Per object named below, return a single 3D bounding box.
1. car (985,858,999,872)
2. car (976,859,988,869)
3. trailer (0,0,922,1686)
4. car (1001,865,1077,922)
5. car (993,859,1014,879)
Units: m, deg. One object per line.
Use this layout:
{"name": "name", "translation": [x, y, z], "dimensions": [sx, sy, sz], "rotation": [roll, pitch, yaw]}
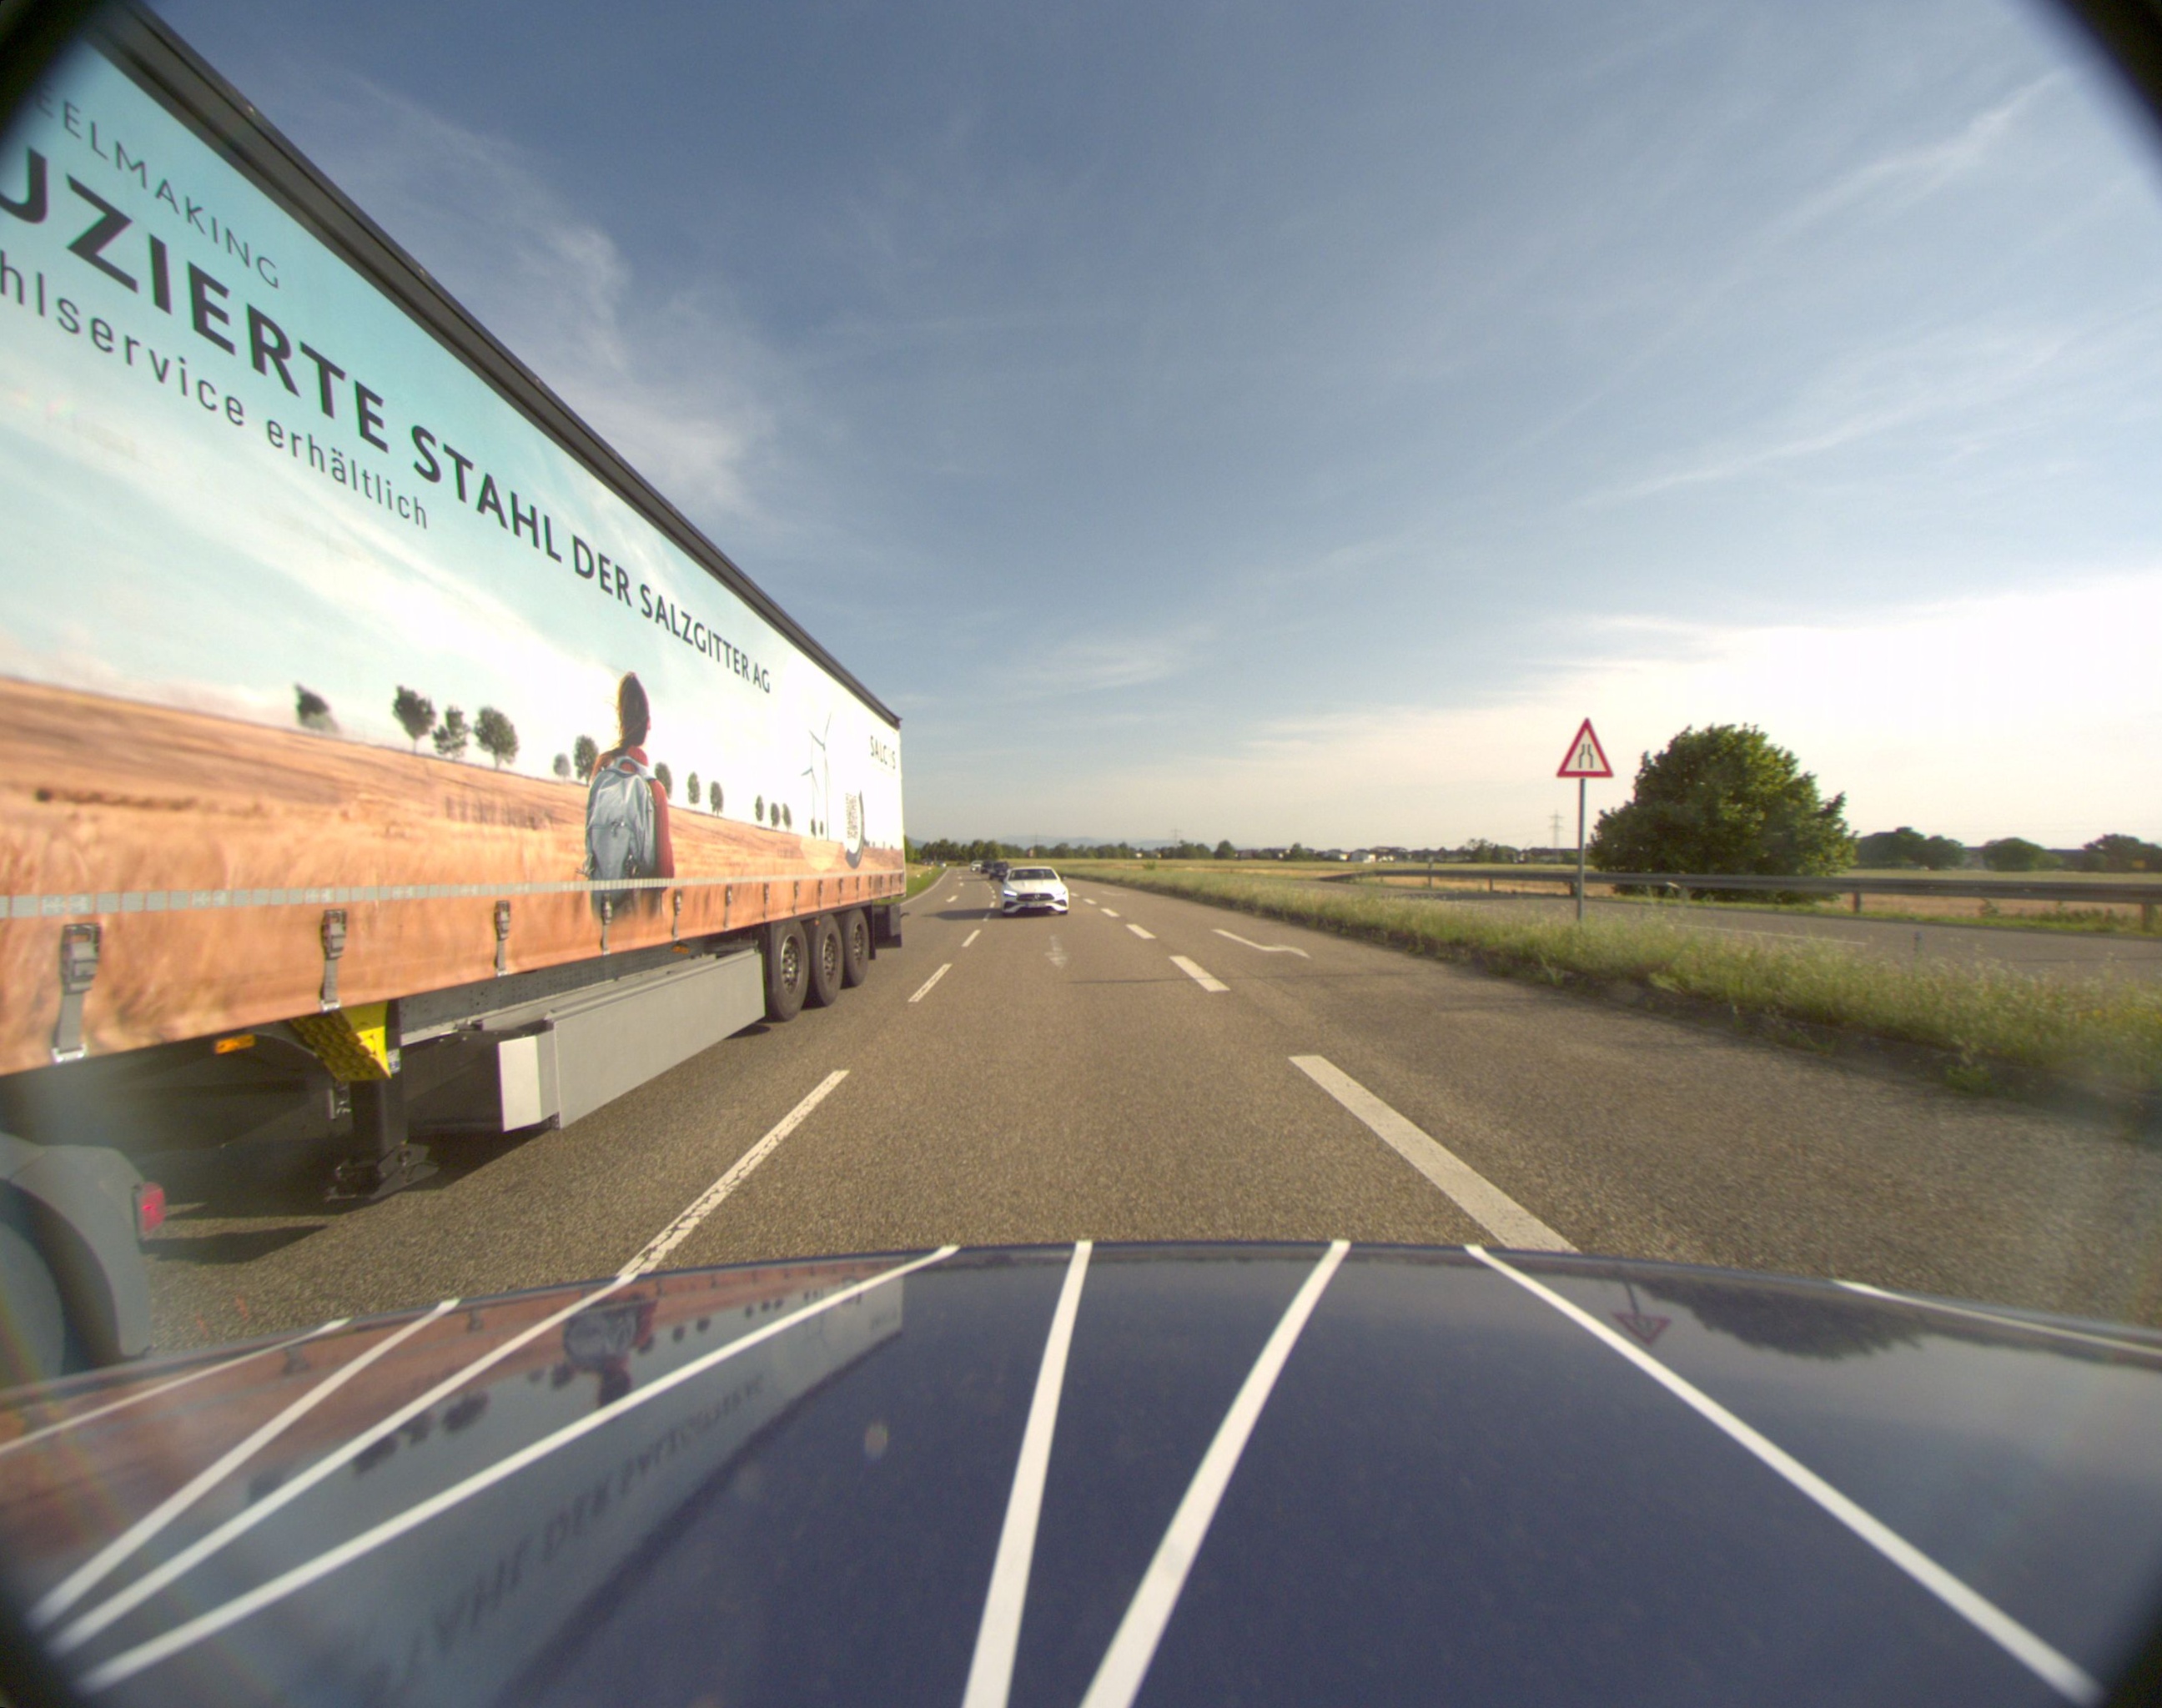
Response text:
{"name": "car", "translation": [-10.258, 1.238, 87.746], "dimensions": [1.558, 1.550, 3.047], "rotation": [-1, 0, -7]}
{"name": "car", "translation": [-13.764, 1.392, 105.848], "dimensions": [1.558, 1.391, 4.033], "rotation": [-1, 0, -7]}
{"name": "trailer", "translation": [-4.170, -0.513, 6.119], "dimensions": [3.290, 4.654, 13.144], "rotation": [-2, 0, -2]}
{"name": "car", "translation": [-1.332, 1.073, 22.260], "dimensions": [1.942, 1.389, 3.916], "rotation": [-2, 0, -7]}
{"name": "car", "translation": [-6.348, 1.186, 61.799], "dimensions": [1.585, 1.496, 3.658], "rotation": [-1, 0, -7]}
